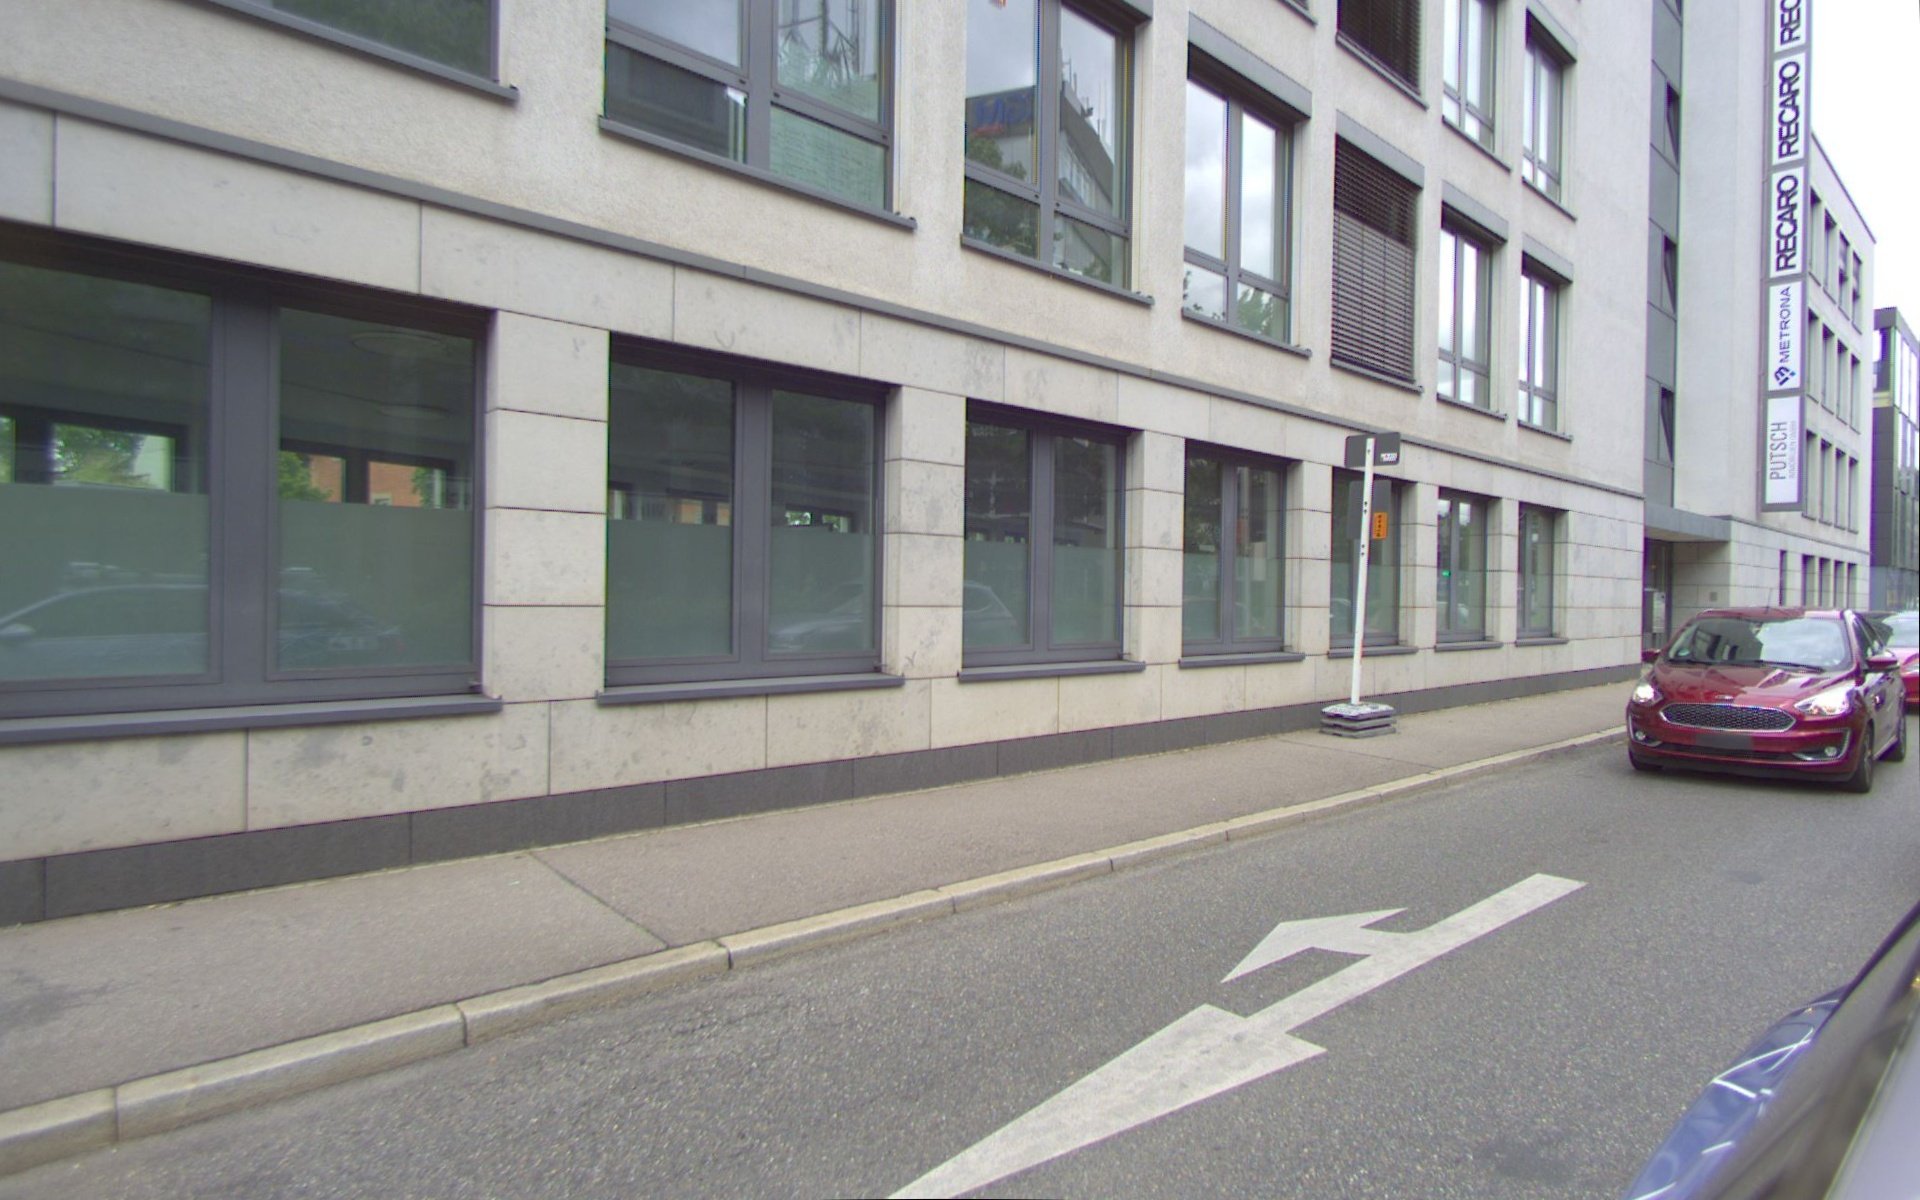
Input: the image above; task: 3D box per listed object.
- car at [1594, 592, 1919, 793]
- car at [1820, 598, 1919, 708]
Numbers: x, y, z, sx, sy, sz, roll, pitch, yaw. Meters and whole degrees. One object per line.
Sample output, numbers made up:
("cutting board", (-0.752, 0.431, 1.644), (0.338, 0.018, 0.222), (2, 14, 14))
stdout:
("car", (7.789, 0.721, 9.639), (3.930, 1.511, 1.888), (0, -2, -41))
("car", (14.491, 0.719, 15.144), (4.331, 1.476, 1.823), (0, -1, -41))
